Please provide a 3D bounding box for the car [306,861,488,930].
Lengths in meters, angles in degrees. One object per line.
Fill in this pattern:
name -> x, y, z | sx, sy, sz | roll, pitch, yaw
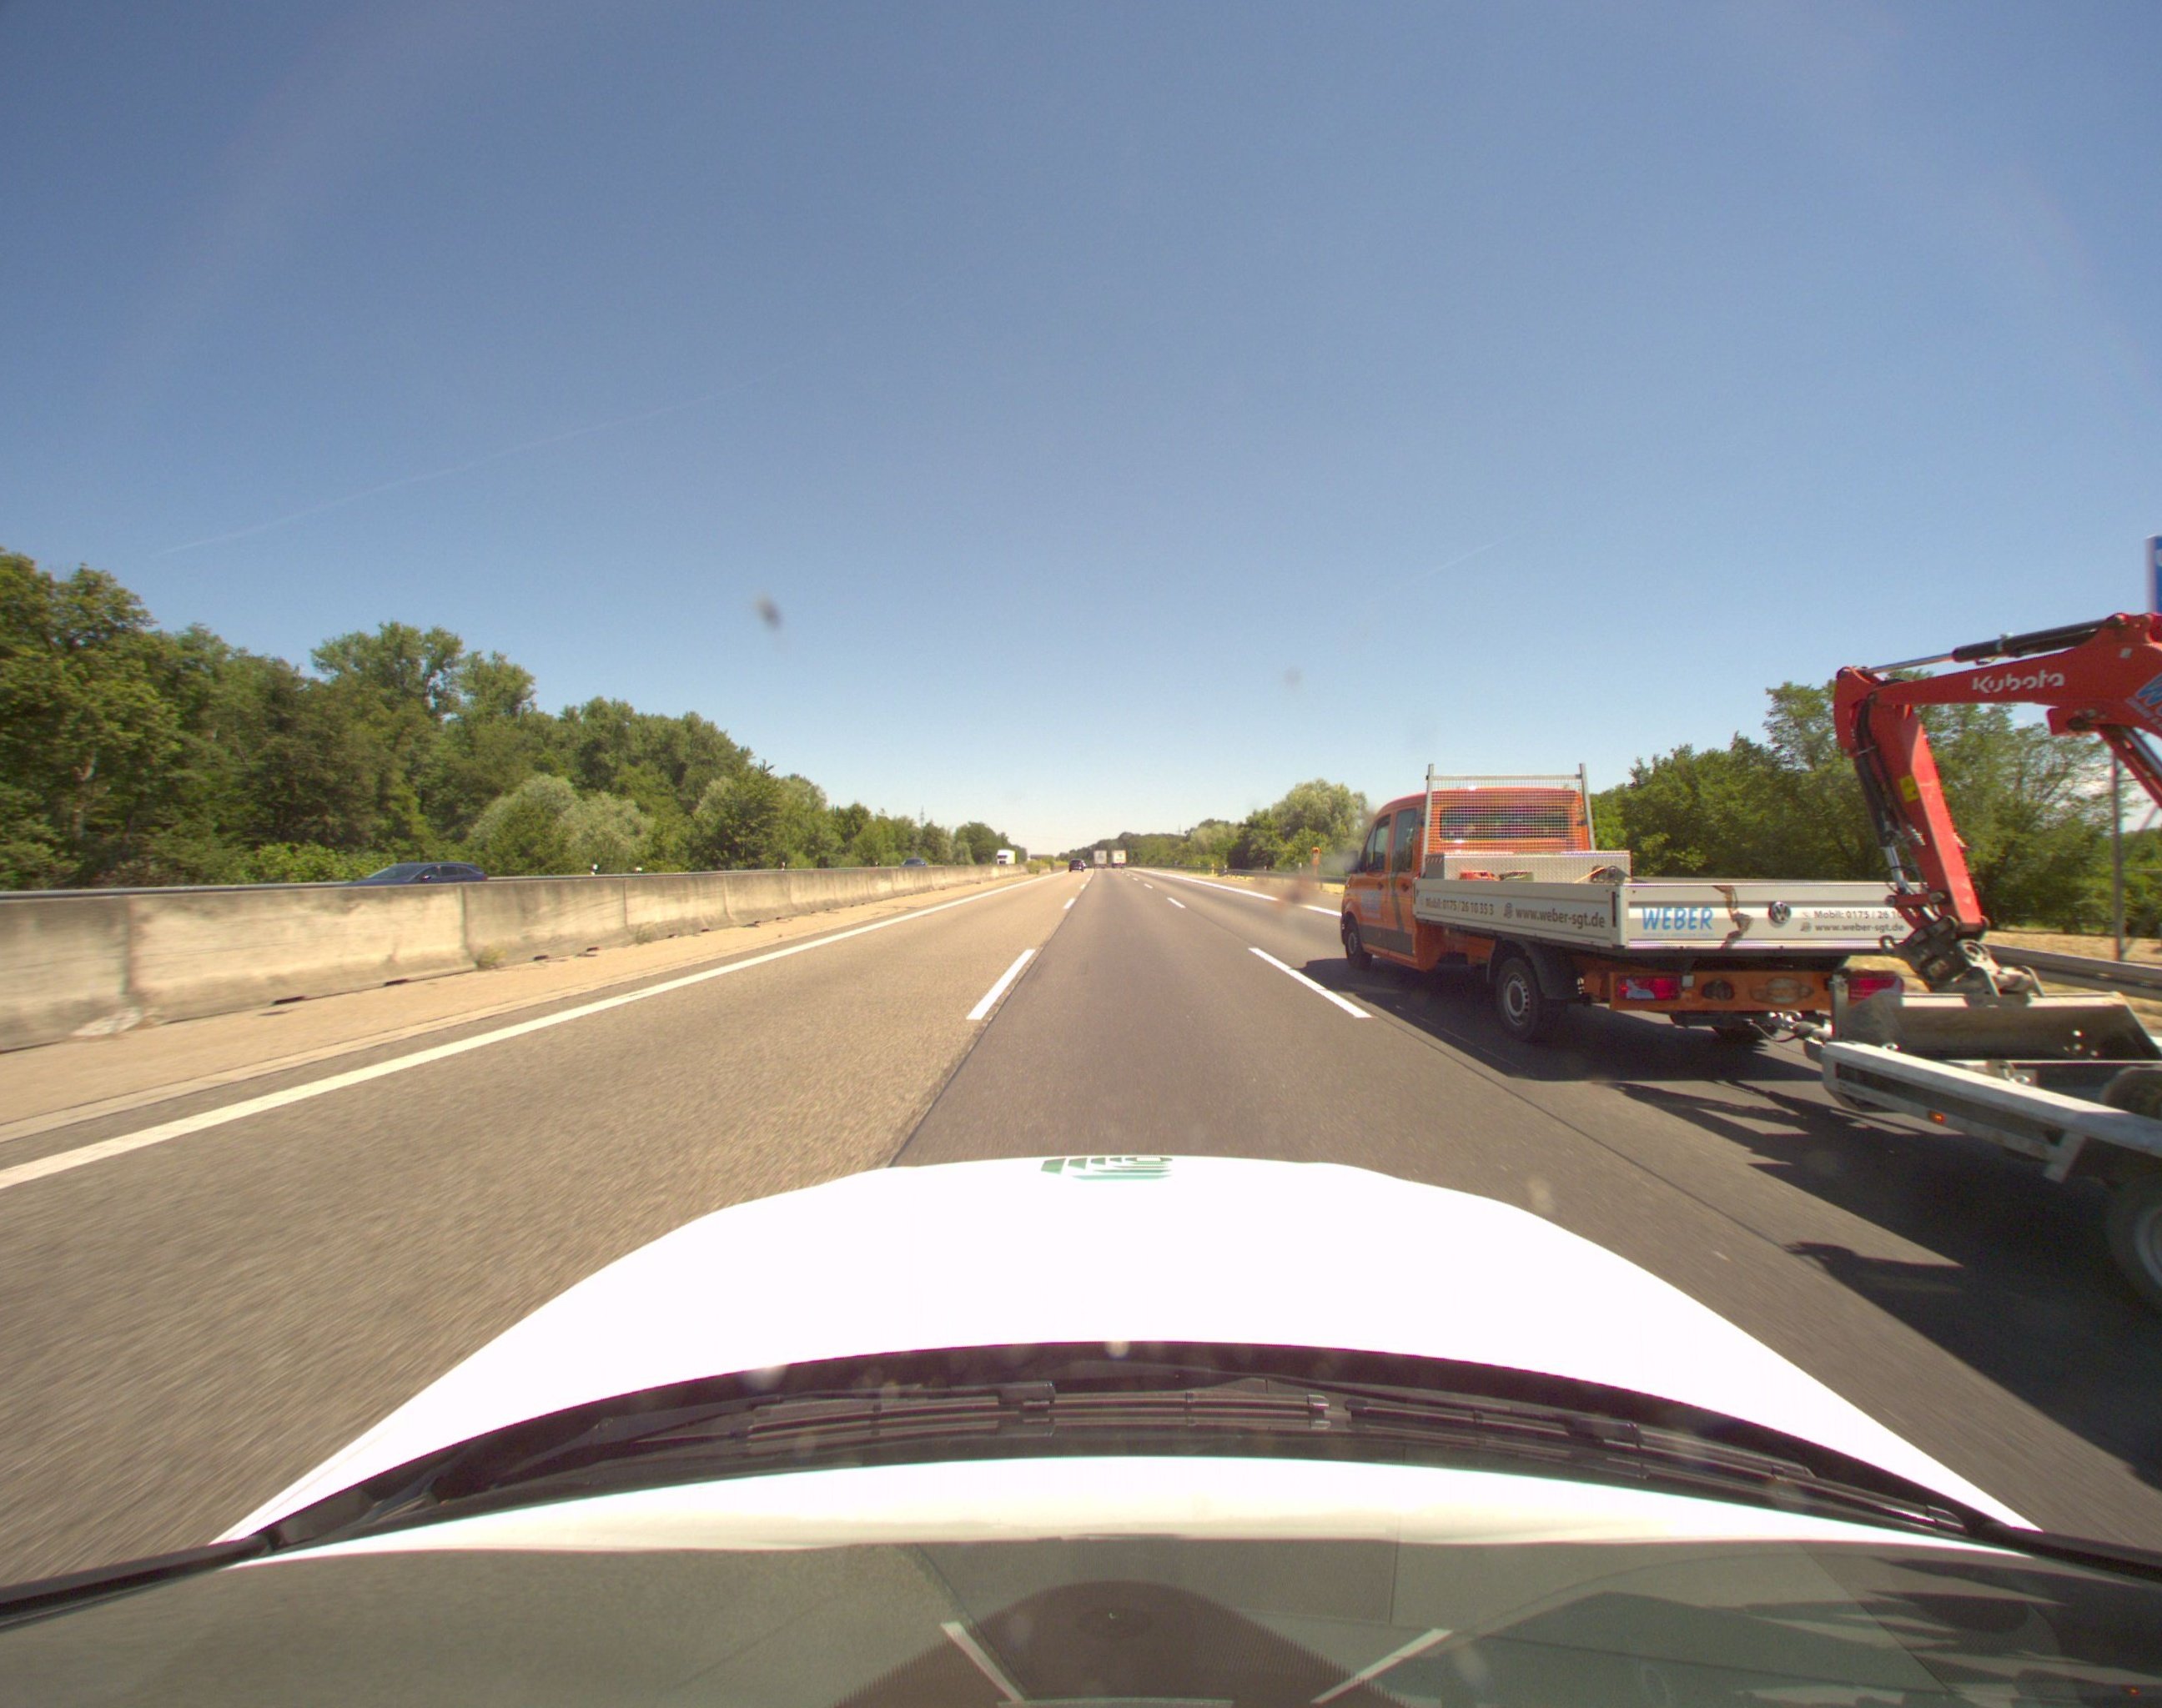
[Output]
car -> -21.856, 1.255, 26.320 | 1.985, 2.013, 4.432 | 0, 0, 3

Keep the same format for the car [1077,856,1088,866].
car -> 0.299, 1.347, 160.931 | 1.987, 1.874, 3.999 | 1, 0, 0

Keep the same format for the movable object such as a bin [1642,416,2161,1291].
movable object such as a bin -> 4.567, -0.002, 2.762 | 2.166, 2.815, 4.763 | 0, 0, 2

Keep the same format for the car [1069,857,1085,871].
car -> -0.493, 1.400, 110.751 | 1.986, 1.874, 4.001 | 0, 0, 2

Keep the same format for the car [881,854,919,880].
car -> -14.261, 0.985, 64.510 | 1.986, 2.013, 4.088 | 0, 0, 2

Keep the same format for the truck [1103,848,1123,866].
truck -> 7.395, 0.703, 189.489 | 3.320, 4.053, 10.934 | 0, 0, -5

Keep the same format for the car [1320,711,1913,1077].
car -> 4.584, 0.267, 8.982 | 1.986, 2.405, 7.229 | 0, 0, 2

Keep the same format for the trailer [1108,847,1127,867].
trailer -> 8.009, 0.655, 180.509 | 3.361, 4.143, 9.079 | 0, 0, -4

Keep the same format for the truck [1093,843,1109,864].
truck -> 4.201, -0.083, 174.083 | 3.218, 4.202, 8.466 | 2, 0, 1

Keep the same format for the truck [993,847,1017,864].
truck -> -16.942, 0.317, 183.524 | 3.586, 3.735, 17.483 | 0, 0, 0
